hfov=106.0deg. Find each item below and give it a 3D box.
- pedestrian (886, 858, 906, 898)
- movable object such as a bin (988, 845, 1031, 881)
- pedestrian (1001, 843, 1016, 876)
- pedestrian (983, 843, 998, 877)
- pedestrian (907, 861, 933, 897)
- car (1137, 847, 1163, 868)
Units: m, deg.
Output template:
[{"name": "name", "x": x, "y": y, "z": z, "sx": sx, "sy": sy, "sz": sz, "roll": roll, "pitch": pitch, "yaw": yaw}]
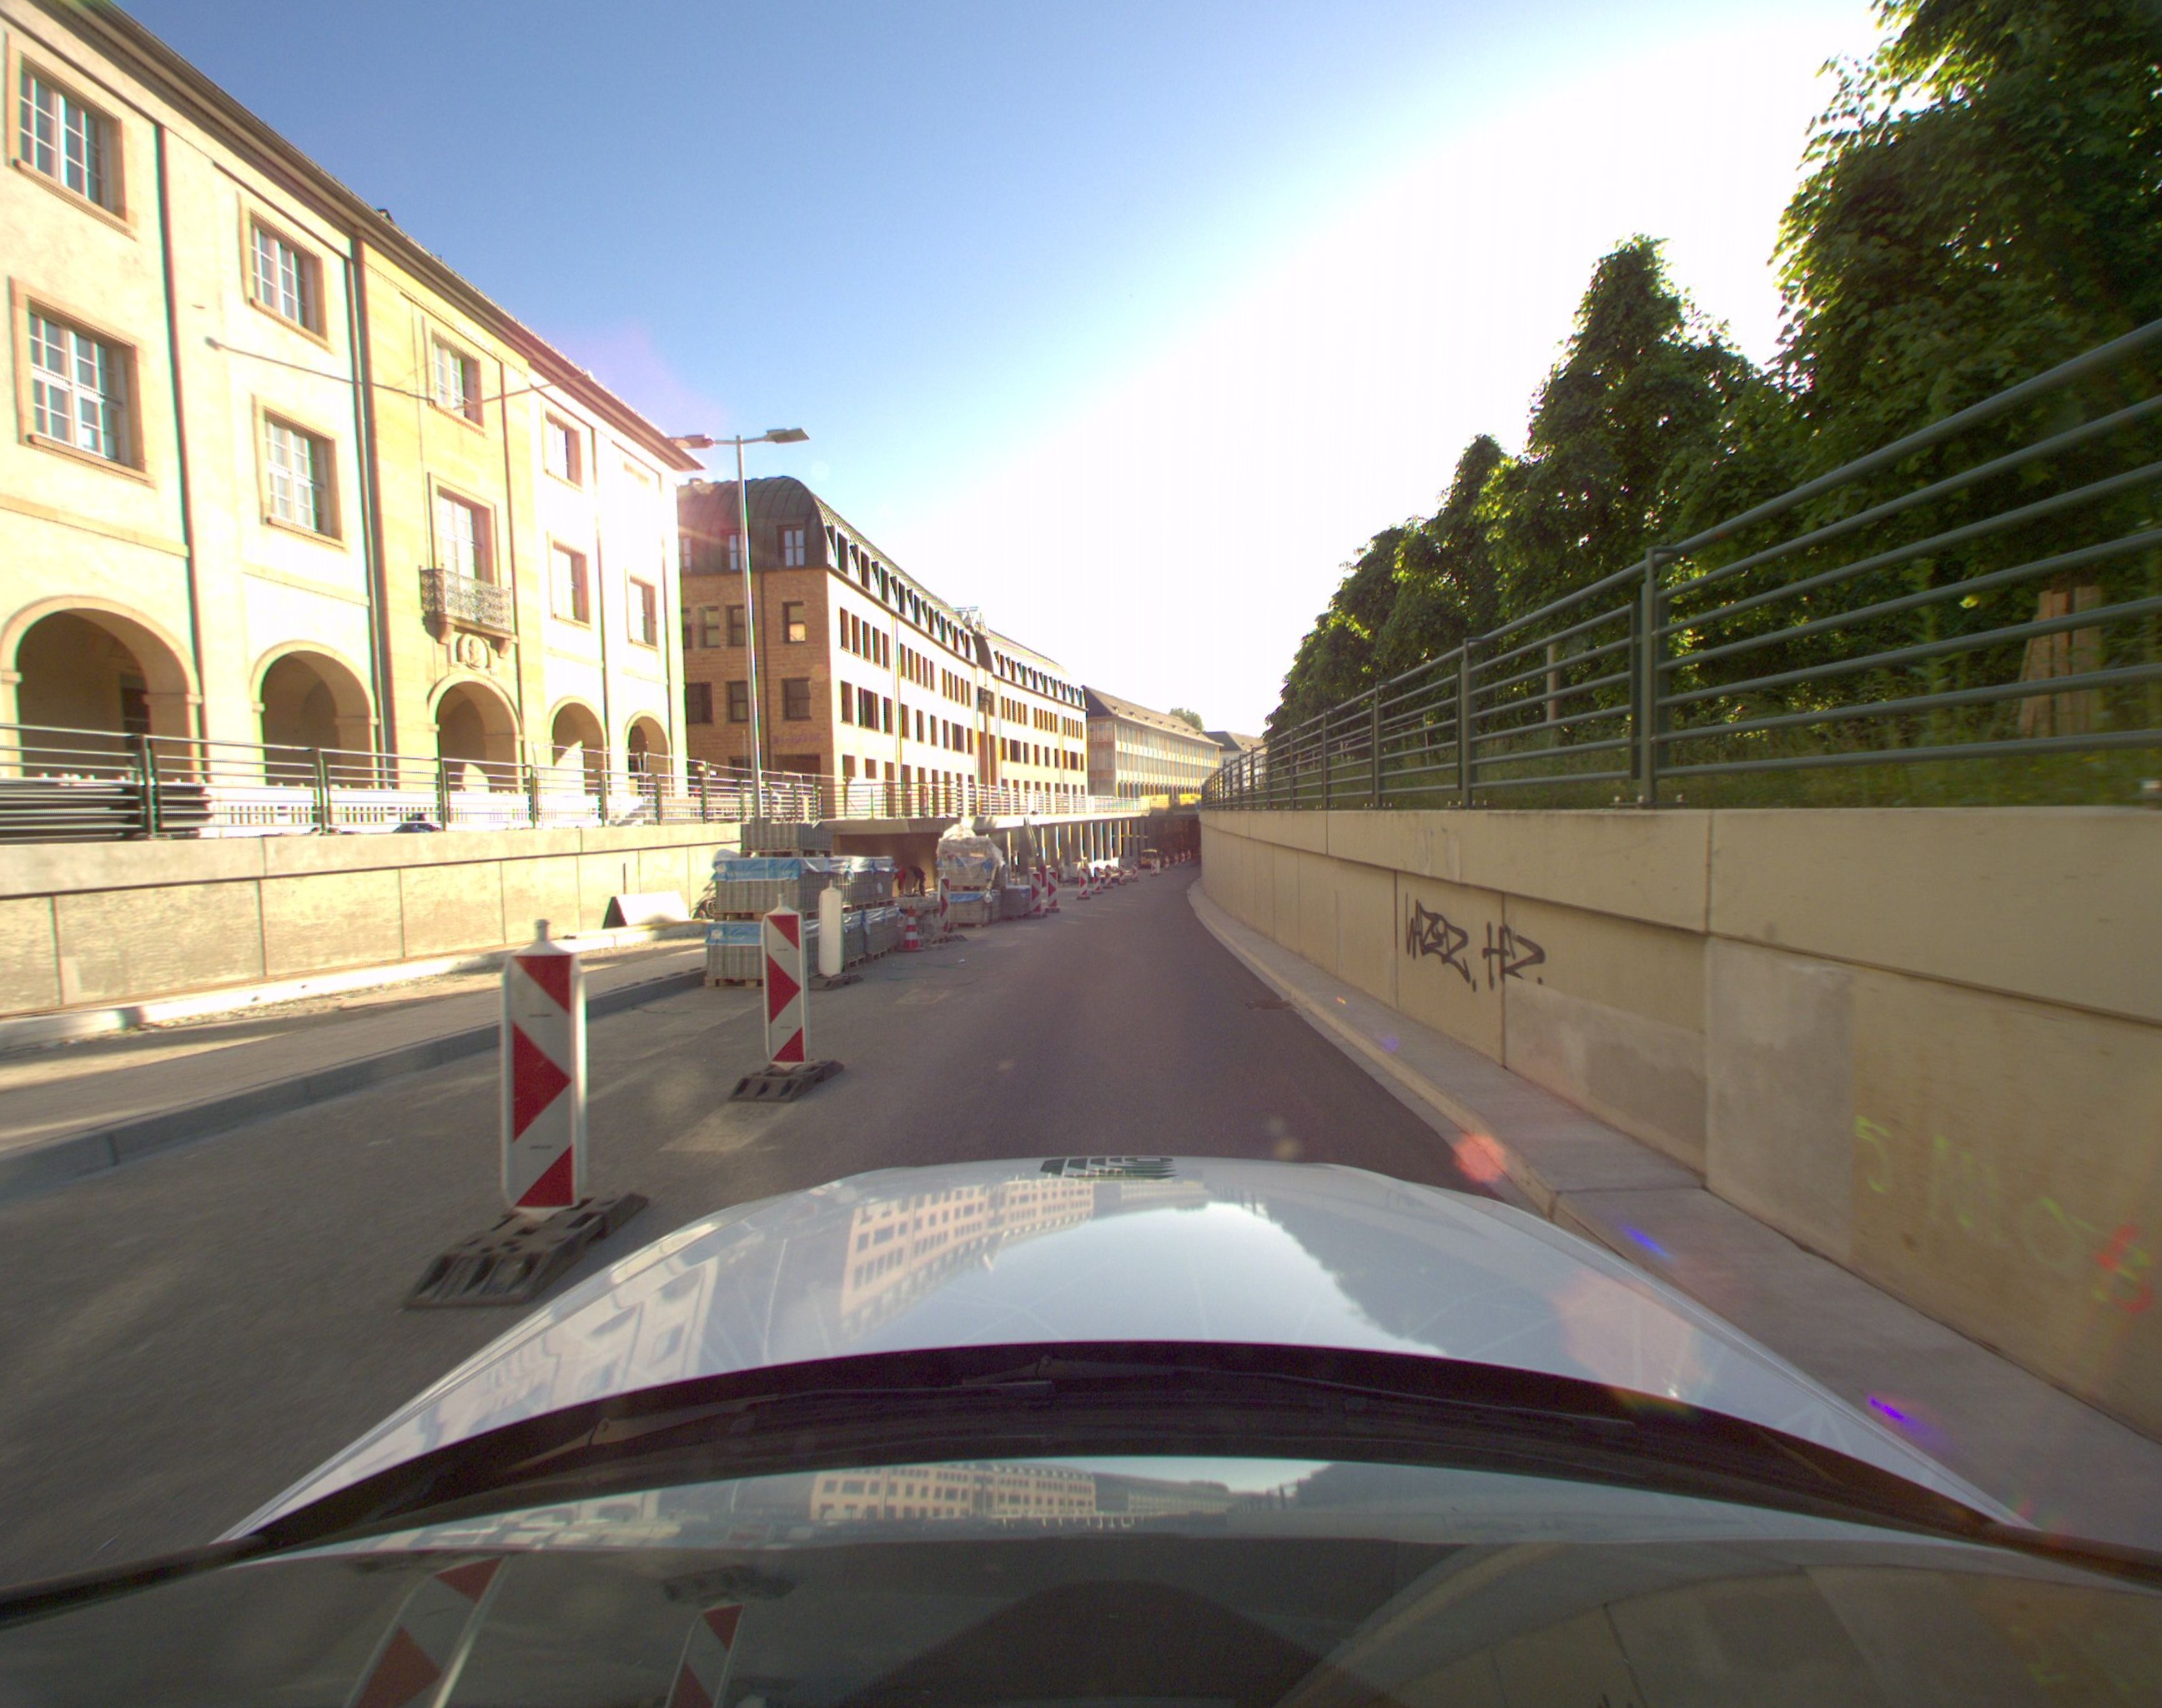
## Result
[{"name": "pedestrian", "x": -7.463, "y": 0.971, "z": 32.937, "sx": 0.647, "sy": 1.580, "sz": 0.630, "roll": -1, "pitch": -1, "yaw": -2}, {"name": "movable object such as a bin", "x": -4.130, "y": 0.498, "z": 47.421, "sx": 1.876, "sy": 1.987, "sz": 3.164, "roll": 0, "pitch": 0, "yaw": 6}, {"name": "pedestrian", "x": -4.040, "y": 0.318, "z": 45.416, "sx": 0.652, "sy": 1.805, "sz": 0.627, "roll": 0, "pitch": 0, "yaw": 16}, {"name": "pedestrian", "x": -4.962, "y": 0.328, "z": 44.640, "sx": 0.700, "sy": 1.814, "sz": 0.711, "roll": 0, "pitch": 0, "yaw": 6}, {"name": "pedestrian", "x": -6.488, "y": 1.010, "z": 32.876, "sx": 0.869, "sy": 1.398, "sz": 0.783, "roll": -1, "pitch": -1, "yaw": -1}, {"name": "car", "x": 6.678, "y": 0.287, "z": 78.376, "sx": 1.835, "sy": 1.775, "sz": 4.452, "roll": 0, "pitch": 2, "yaw": 14}]
